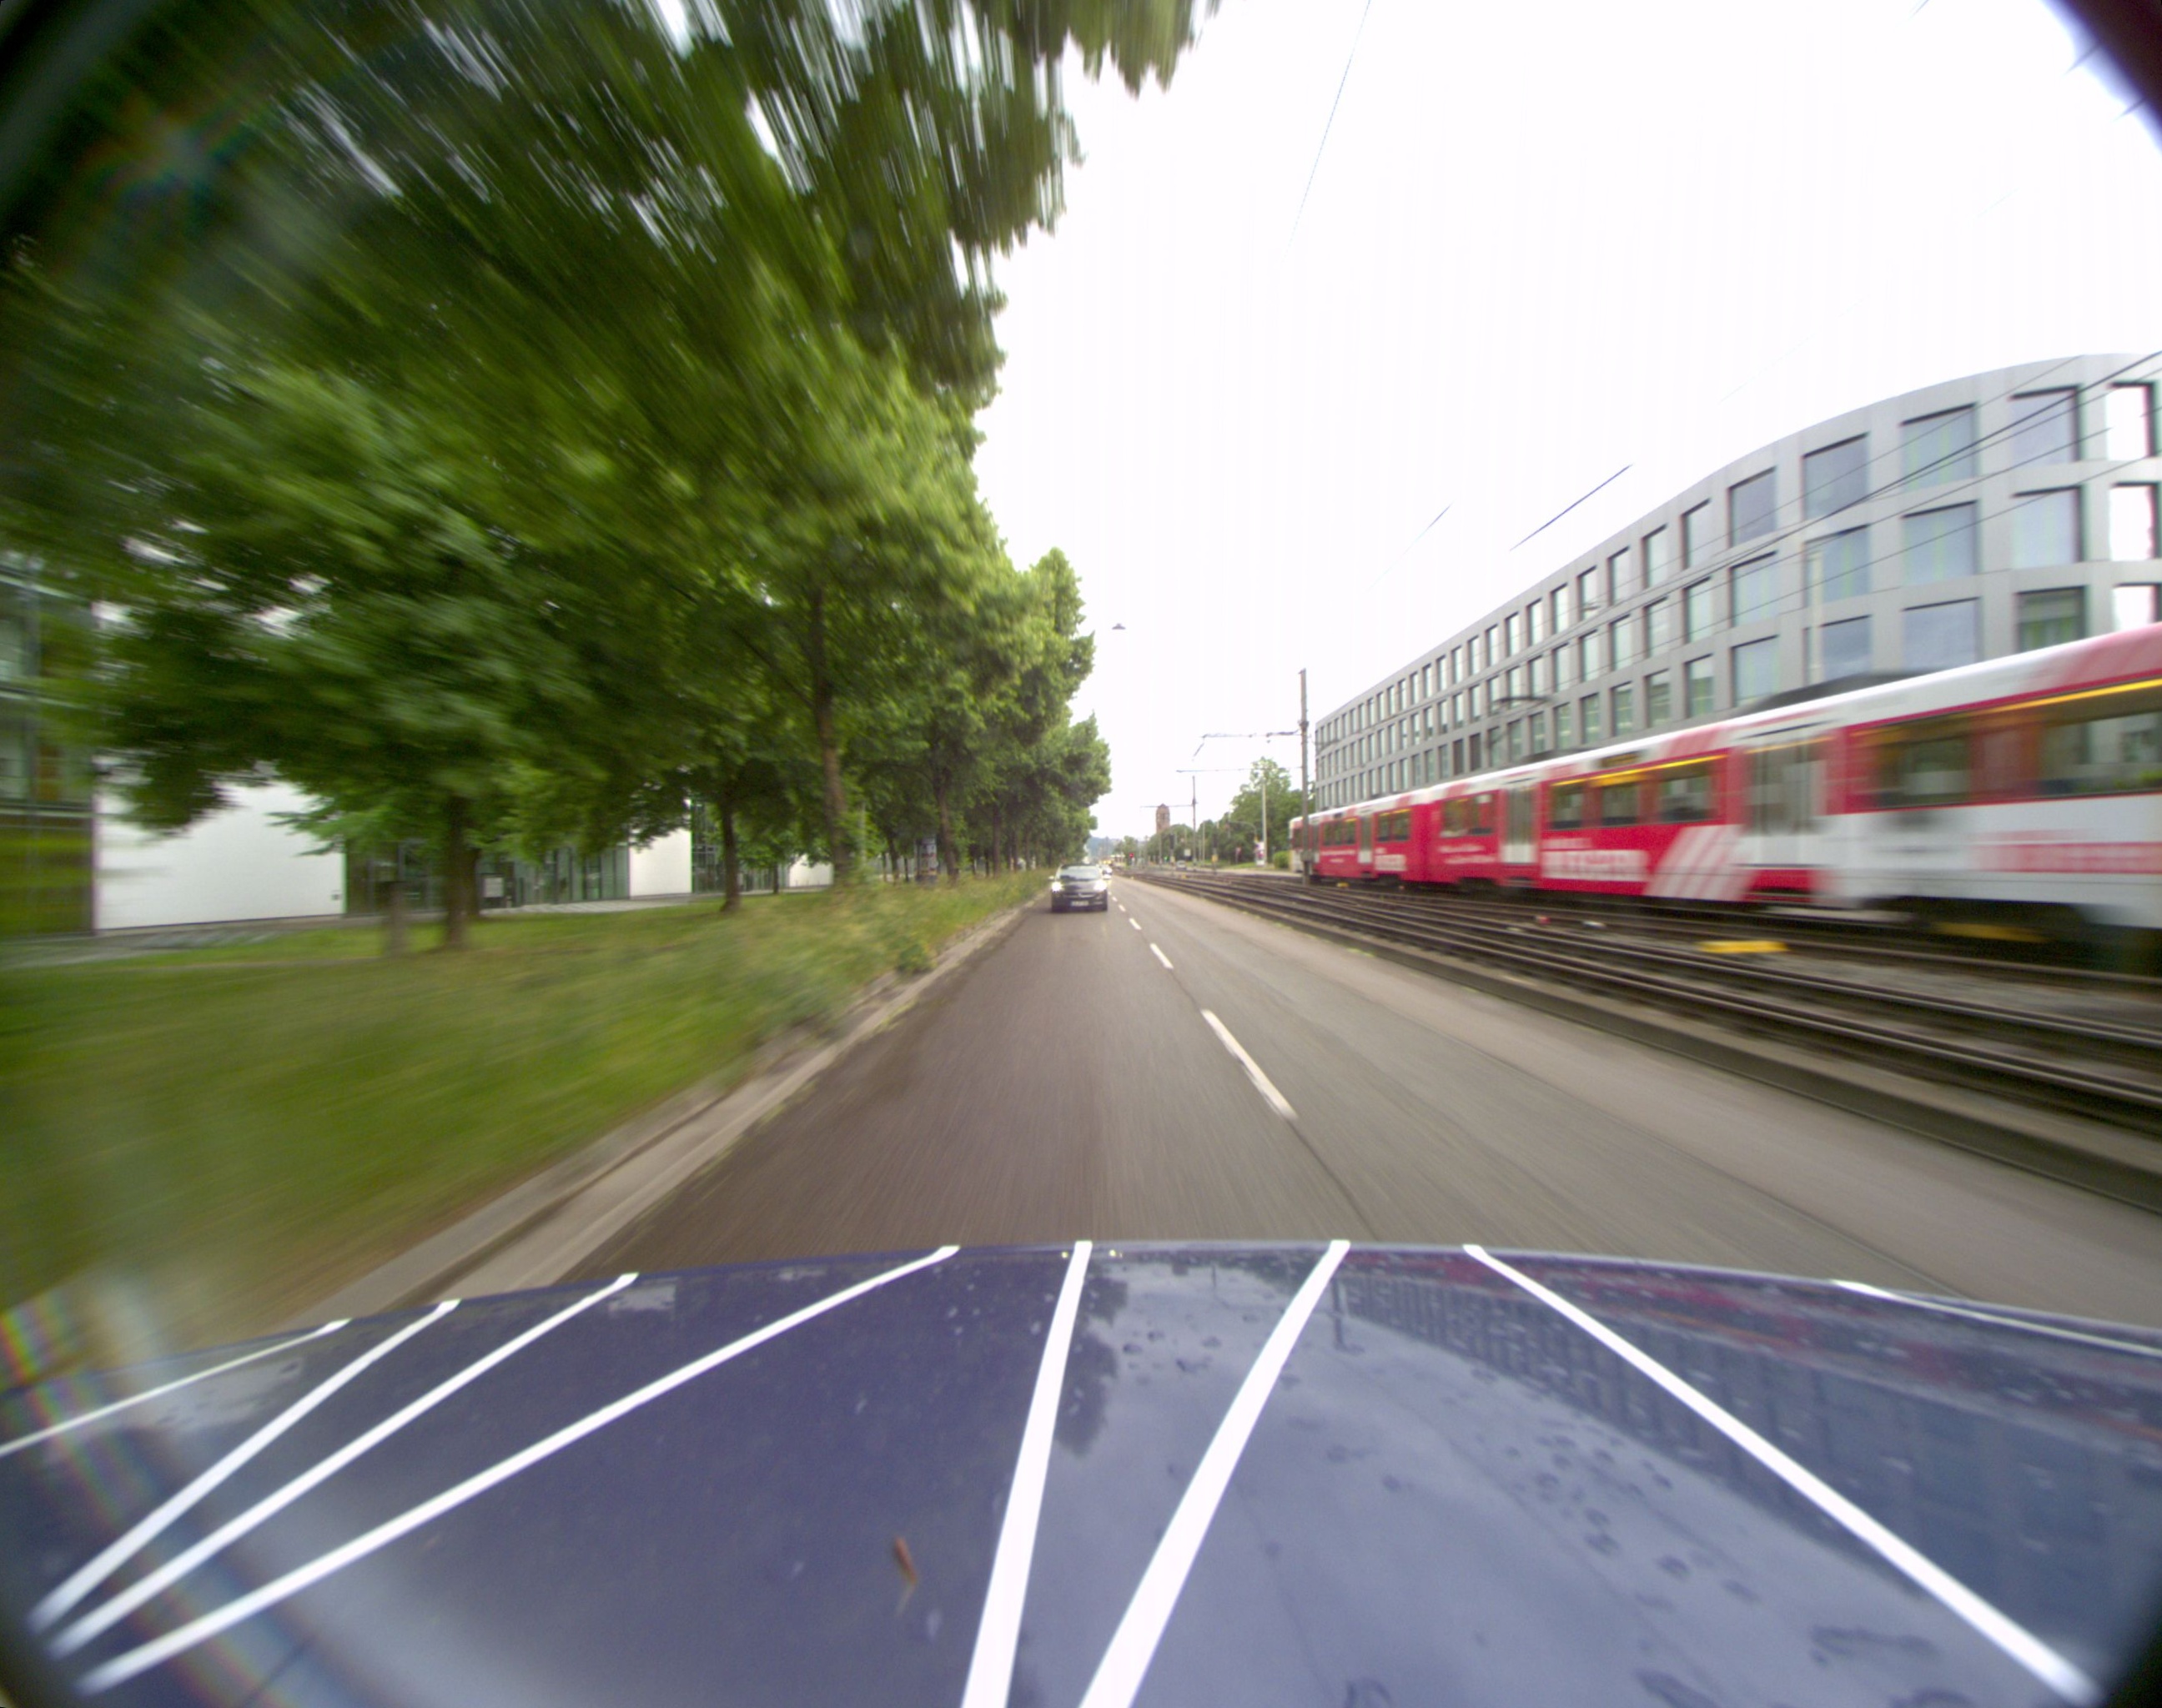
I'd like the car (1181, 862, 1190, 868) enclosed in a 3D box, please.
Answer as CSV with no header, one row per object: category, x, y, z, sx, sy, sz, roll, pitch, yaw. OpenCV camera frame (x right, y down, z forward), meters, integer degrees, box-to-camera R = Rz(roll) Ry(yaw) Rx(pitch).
car,26.276,2.768,190.524,1.775,1.540,3.564,-2,-1,2

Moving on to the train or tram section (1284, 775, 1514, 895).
train or tram section,12.714,-0.586,33.727,2.974,3.788,18.617,-1,0,2

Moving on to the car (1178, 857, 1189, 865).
car,20.549,1.450,152.665,1.812,1.627,3.564,-2,-1,1

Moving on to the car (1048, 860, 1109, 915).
car,0.004,0.999,24.263,1.698,1.439,4.420,-3,0,2

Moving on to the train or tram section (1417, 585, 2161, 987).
train or tram section,11.995,-0.648,15.056,2.974,3.788,18.617,-1,0,2
